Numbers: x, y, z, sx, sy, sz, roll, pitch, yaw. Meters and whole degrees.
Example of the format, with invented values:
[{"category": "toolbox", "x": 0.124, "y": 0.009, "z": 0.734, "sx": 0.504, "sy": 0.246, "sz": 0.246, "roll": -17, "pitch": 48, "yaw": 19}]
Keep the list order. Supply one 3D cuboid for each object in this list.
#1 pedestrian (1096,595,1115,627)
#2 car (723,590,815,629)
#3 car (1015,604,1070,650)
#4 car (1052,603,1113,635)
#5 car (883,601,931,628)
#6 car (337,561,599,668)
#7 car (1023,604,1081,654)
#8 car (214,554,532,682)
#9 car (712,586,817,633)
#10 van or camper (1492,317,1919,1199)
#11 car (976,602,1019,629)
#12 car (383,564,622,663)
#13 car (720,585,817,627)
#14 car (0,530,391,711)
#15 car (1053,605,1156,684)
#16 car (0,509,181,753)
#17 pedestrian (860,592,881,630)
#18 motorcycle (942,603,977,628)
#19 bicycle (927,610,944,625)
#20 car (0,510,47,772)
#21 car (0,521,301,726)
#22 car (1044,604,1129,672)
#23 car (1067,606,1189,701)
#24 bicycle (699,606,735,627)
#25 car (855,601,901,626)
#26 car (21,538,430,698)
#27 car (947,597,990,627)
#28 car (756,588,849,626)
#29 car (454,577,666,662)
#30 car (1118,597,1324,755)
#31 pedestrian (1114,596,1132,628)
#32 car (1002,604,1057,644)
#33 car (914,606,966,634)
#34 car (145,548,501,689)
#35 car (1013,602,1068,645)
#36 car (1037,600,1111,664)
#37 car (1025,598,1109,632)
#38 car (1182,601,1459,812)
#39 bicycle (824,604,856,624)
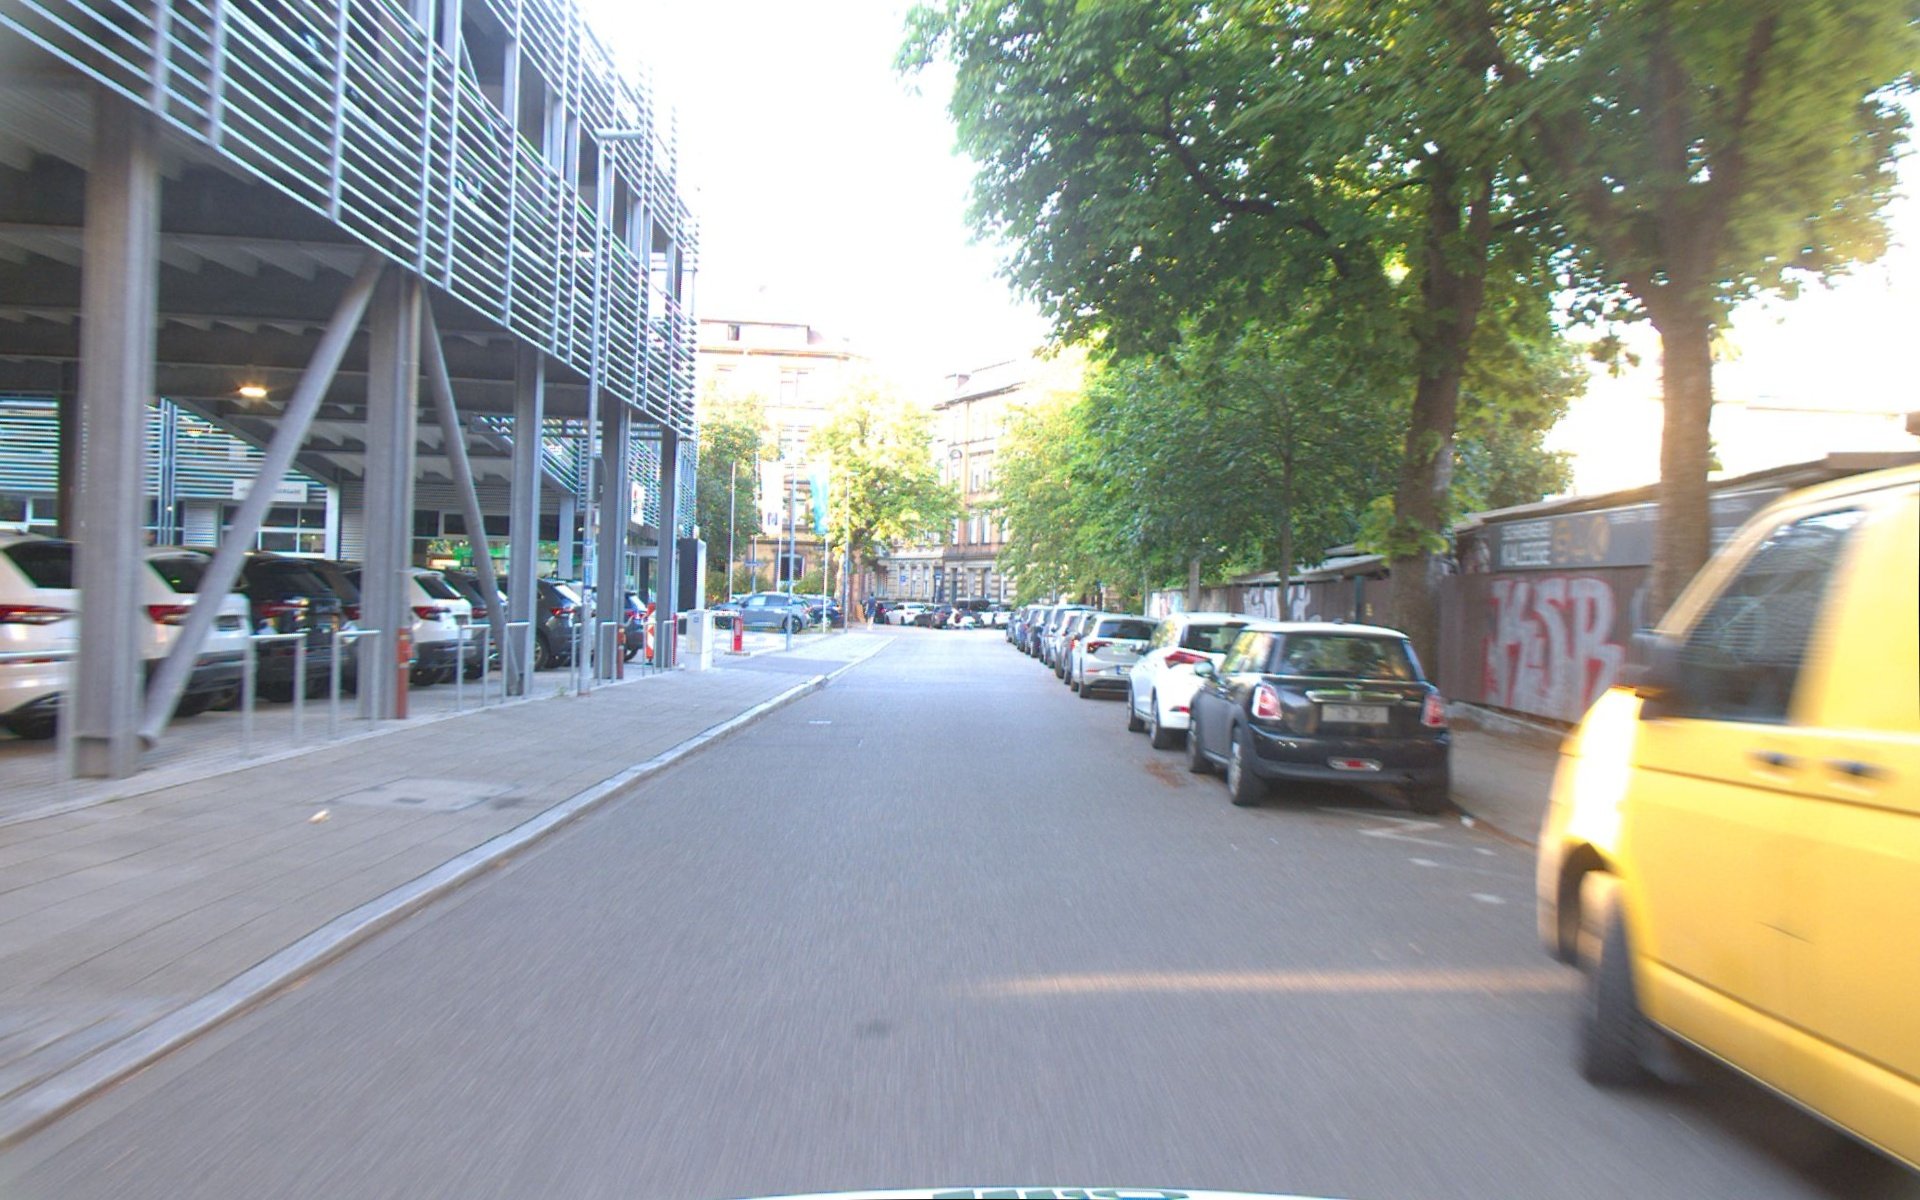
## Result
[{"category": "pedestrian", "x": 8.595, "y": 0.646, "z": 97.638, "sx": 0.828, "sy": 1.835, "sz": 0.771, "roll": 1, "pitch": 1, "yaw": -21}, {"category": "car", "x": -8.657, "y": 0.435, "z": 75.165, "sx": 3.966, "sy": 1.501, "sz": 1.919, "roll": 3, "pitch": 1, "yaw": -4}, {"category": "car", "x": 2.830, "y": 0.921, "z": 57.419, "sx": 1.660, "sy": 1.502, "sz": 4.117, "roll": 1, "pitch": 0, "yaw": 0}, {"category": "car", "x": 6.995, "y": 1.080, "z": 94.771, "sx": 1.889, "sy": 1.552, "sz": 3.867, "roll": 2, "pitch": 1, "yaw": -24}, {"category": "car", "x": -3.286, "y": 0.898, "z": 102.493, "sx": 1.632, "sy": 1.456, "sz": 4.140, "roll": 2, "pitch": 1, "yaw": -22}, {"category": "car", "x": -8.587, "y": 0.233, "z": 29.110, "sx": 4.003, "sy": 1.713, "sz": 1.860, "roll": 1, "pitch": 1, "yaw": 1}, {"category": "car", "x": 2.902, "y": 0.892, "z": 52.711, "sx": 1.564, "sy": 1.502, "sz": 3.773, "roll": 1, "pitch": 0, "yaw": 0}, {"category": "car", "x": -8.576, "y": 0.239, "z": 24.399, "sx": 3.980, "sy": 1.713, "sz": 1.860, "roll": 1, "pitch": 1, "yaw": 1}, {"category": "car", "x": -7.966, "y": 0.382, "z": 67.745, "sx": 4.047, "sy": 1.646, "sz": 1.912, "roll": 3, "pitch": 1, "yaw": -2}, {"category": "van or camper", "x": 3.058, "y": 0.481, "z": 3.590, "sx": 2.022, "sy": 2.132, "sz": 5.089, "roll": 1, "pitch": 1, "yaw": -1}, {"category": "car", "x": 2.323, "y": 0.945, "z": 103.053, "sx": 1.653, "sy": 1.552, "sz": 2.746, "roll": 2, "pitch": 0, "yaw": -24}, {"category": "car", "x": -8.659, "y": 0.238, "z": 31.538, "sx": 3.996, "sy": 1.713, "sz": 1.860, "roll": 1, "pitch": 1, "yaw": 1}, {"category": "car", "x": -8.207, "y": 0.257, "z": 71.123, "sx": 3.985, "sy": 1.646, "sz": 1.765, "roll": 1, "pitch": 1, "yaw": -2}, {"category": "car", "x": -8.337, "y": 0.181, "z": 17.381, "sx": 4.018, "sy": 1.713, "sz": 1.860, "roll": 1, "pitch": 1, "yaw": 1}, {"category": "car", "x": 2.945, "y": 0.875, "z": 34.580, "sx": 1.723, "sy": 1.480, "sz": 4.392, "roll": 1, "pitch": 0, "yaw": 0}, {"category": "car", "x": -8.379, "y": 0.156, "z": 12.617, "sx": 3.943, "sy": 1.713, "sz": 1.860, "roll": 1, "pitch": 1, "yaw": 1}, {"category": "pedestrian", "x": -4.403, "y": 0.519, "z": 81.453, "sx": 0.724, "sy": 1.835, "sz": 1.115, "roll": 1, "pitch": 1, "yaw": -20}, {"category": "motorcycle", "x": -0.042, "y": 0.903, "z": 94.758, "sx": 1.897, "sy": 1.364, "sz": 0.576, "roll": 1, "pitch": 1, "yaw": -11}, {"category": "bicycle", "x": -1.365, "y": 0.981, "z": 92.635, "sx": 0.416, "sy": 0.836, "sz": 1.462, "roll": 2, "pitch": 1, "yaw": 21}, {"category": "car", "x": -8.288, "y": 0.223, "z": 10.363, "sx": 4.064, "sy": 1.713, "sz": 1.860, "roll": 1, "pitch": 1, "yaw": 1}, {"category": "car", "x": -8.428, "y": 0.161, "z": 15.149, "sx": 3.999, "sy": 1.713, "sz": 1.860, "roll": 1, "pitch": 1, "yaw": 1}, {"category": "car", "x": 3.054, "y": 0.890, "z": 40.518, "sx": 1.723, "sy": 1.467, "sz": 3.873, "roll": 1, "pitch": 1, "yaw": 0}, {"category": "car", "x": 2.930, "y": 0.900, "z": 29.550, "sx": 1.723, "sy": 1.467, "sz": 4.005, "roll": 1, "pitch": 1, "yaw": 0}, {"category": "bicycle", "x": -12.736, "y": 0.862, "z": 86.668, "sx": 1.831, "sy": 1.046, "sz": 0.442, "roll": 1, "pitch": 1, "yaw": -25}, {"category": "car", "x": -5.330, "y": 0.858, "z": 106.903, "sx": 1.633, "sy": 1.456, "sz": 3.867, "roll": 2, "pitch": 1, "yaw": -24}, {"category": "car", "x": -8.663, "y": 0.191, "z": 19.760, "sx": 4.018, "sy": 1.713, "sz": 1.860, "roll": 1, "pitch": 1, "yaw": 1}, {"category": "car", "x": 0.560, "y": 0.772, "z": 106.592, "sx": 1.653, "sy": 1.813, "sz": 2.992, "roll": 2, "pitch": 0, "yaw": -24}, {"category": "car", "x": -8.264, "y": 0.343, "z": 86.646, "sx": 4.737, "sy": 1.762, "sz": 1.918, "roll": 2, "pitch": 1, "yaw": -7}, {"category": "car", "x": -8.197, "y": 0.416, "z": 34.165, "sx": 3.907, "sy": 1.614, "sz": 1.859, "roll": 1, "pitch": -2, "yaw": -2}, {"category": "car", "x": 2.912, "y": 0.788, "z": 19.234, "sx": 1.687, "sy": 1.546, "sz": 4.025, "roll": 1, "pitch": 1, "yaw": -1}, {"category": "pedestrian", "x": 9.391, "y": 0.700, "z": 95.419, "sx": 0.760, "sy": 1.835, "sz": 0.840, "roll": 1, "pitch": 1, "yaw": -15}, {"category": "car", "x": 2.772, "y": 0.946, "z": 66.471, "sx": 1.662, "sy": 1.502, "sz": 4.208, "roll": 1, "pitch": 0, "yaw": -5}, {"category": "car", "x": -1.220, "y": 1.188, "z": 98.099, "sx": 1.633, "sy": 1.456, "sz": 3.961, "roll": 2, "pitch": 1, "yaw": -24}, {"category": "car", "x": -8.472, "y": 0.219, "z": 22.255, "sx": 4.018, "sy": 1.713, "sz": 1.860, "roll": 1, "pitch": 1, "yaw": 1}, {"category": "car", "x": 2.989, "y": 0.864, "z": 62.066, "sx": 1.661, "sy": 1.502, "sz": 3.557, "roll": 1, "pitch": 0, "yaw": -4}, {"category": "car", "x": 3.089, "y": 0.855, "z": 45.581, "sx": 1.723, "sy": 1.632, "sz": 3.873, "roll": 1, "pitch": 0, "yaw": 0}, {"category": "car", "x": 5.096, "y": 0.707, "z": 78.328, "sx": 1.849, "sy": 1.492, "sz": 3.946, "roll": 3, "pitch": 1, "yaw": 43}, {"category": "car", "x": 2.901, "y": 0.791, "z": 13.968, "sx": 1.531, "sy": 1.475, "sz": 3.453, "roll": 1, "pitch": 1, "yaw": -1}, {"category": "bicycle", "x": -6.483, "y": 0.776, "z": 89.287, "sx": 1.650, "sy": 1.046, "sz": 0.442, "roll": 1, "pitch": 1, "yaw": -25}]
